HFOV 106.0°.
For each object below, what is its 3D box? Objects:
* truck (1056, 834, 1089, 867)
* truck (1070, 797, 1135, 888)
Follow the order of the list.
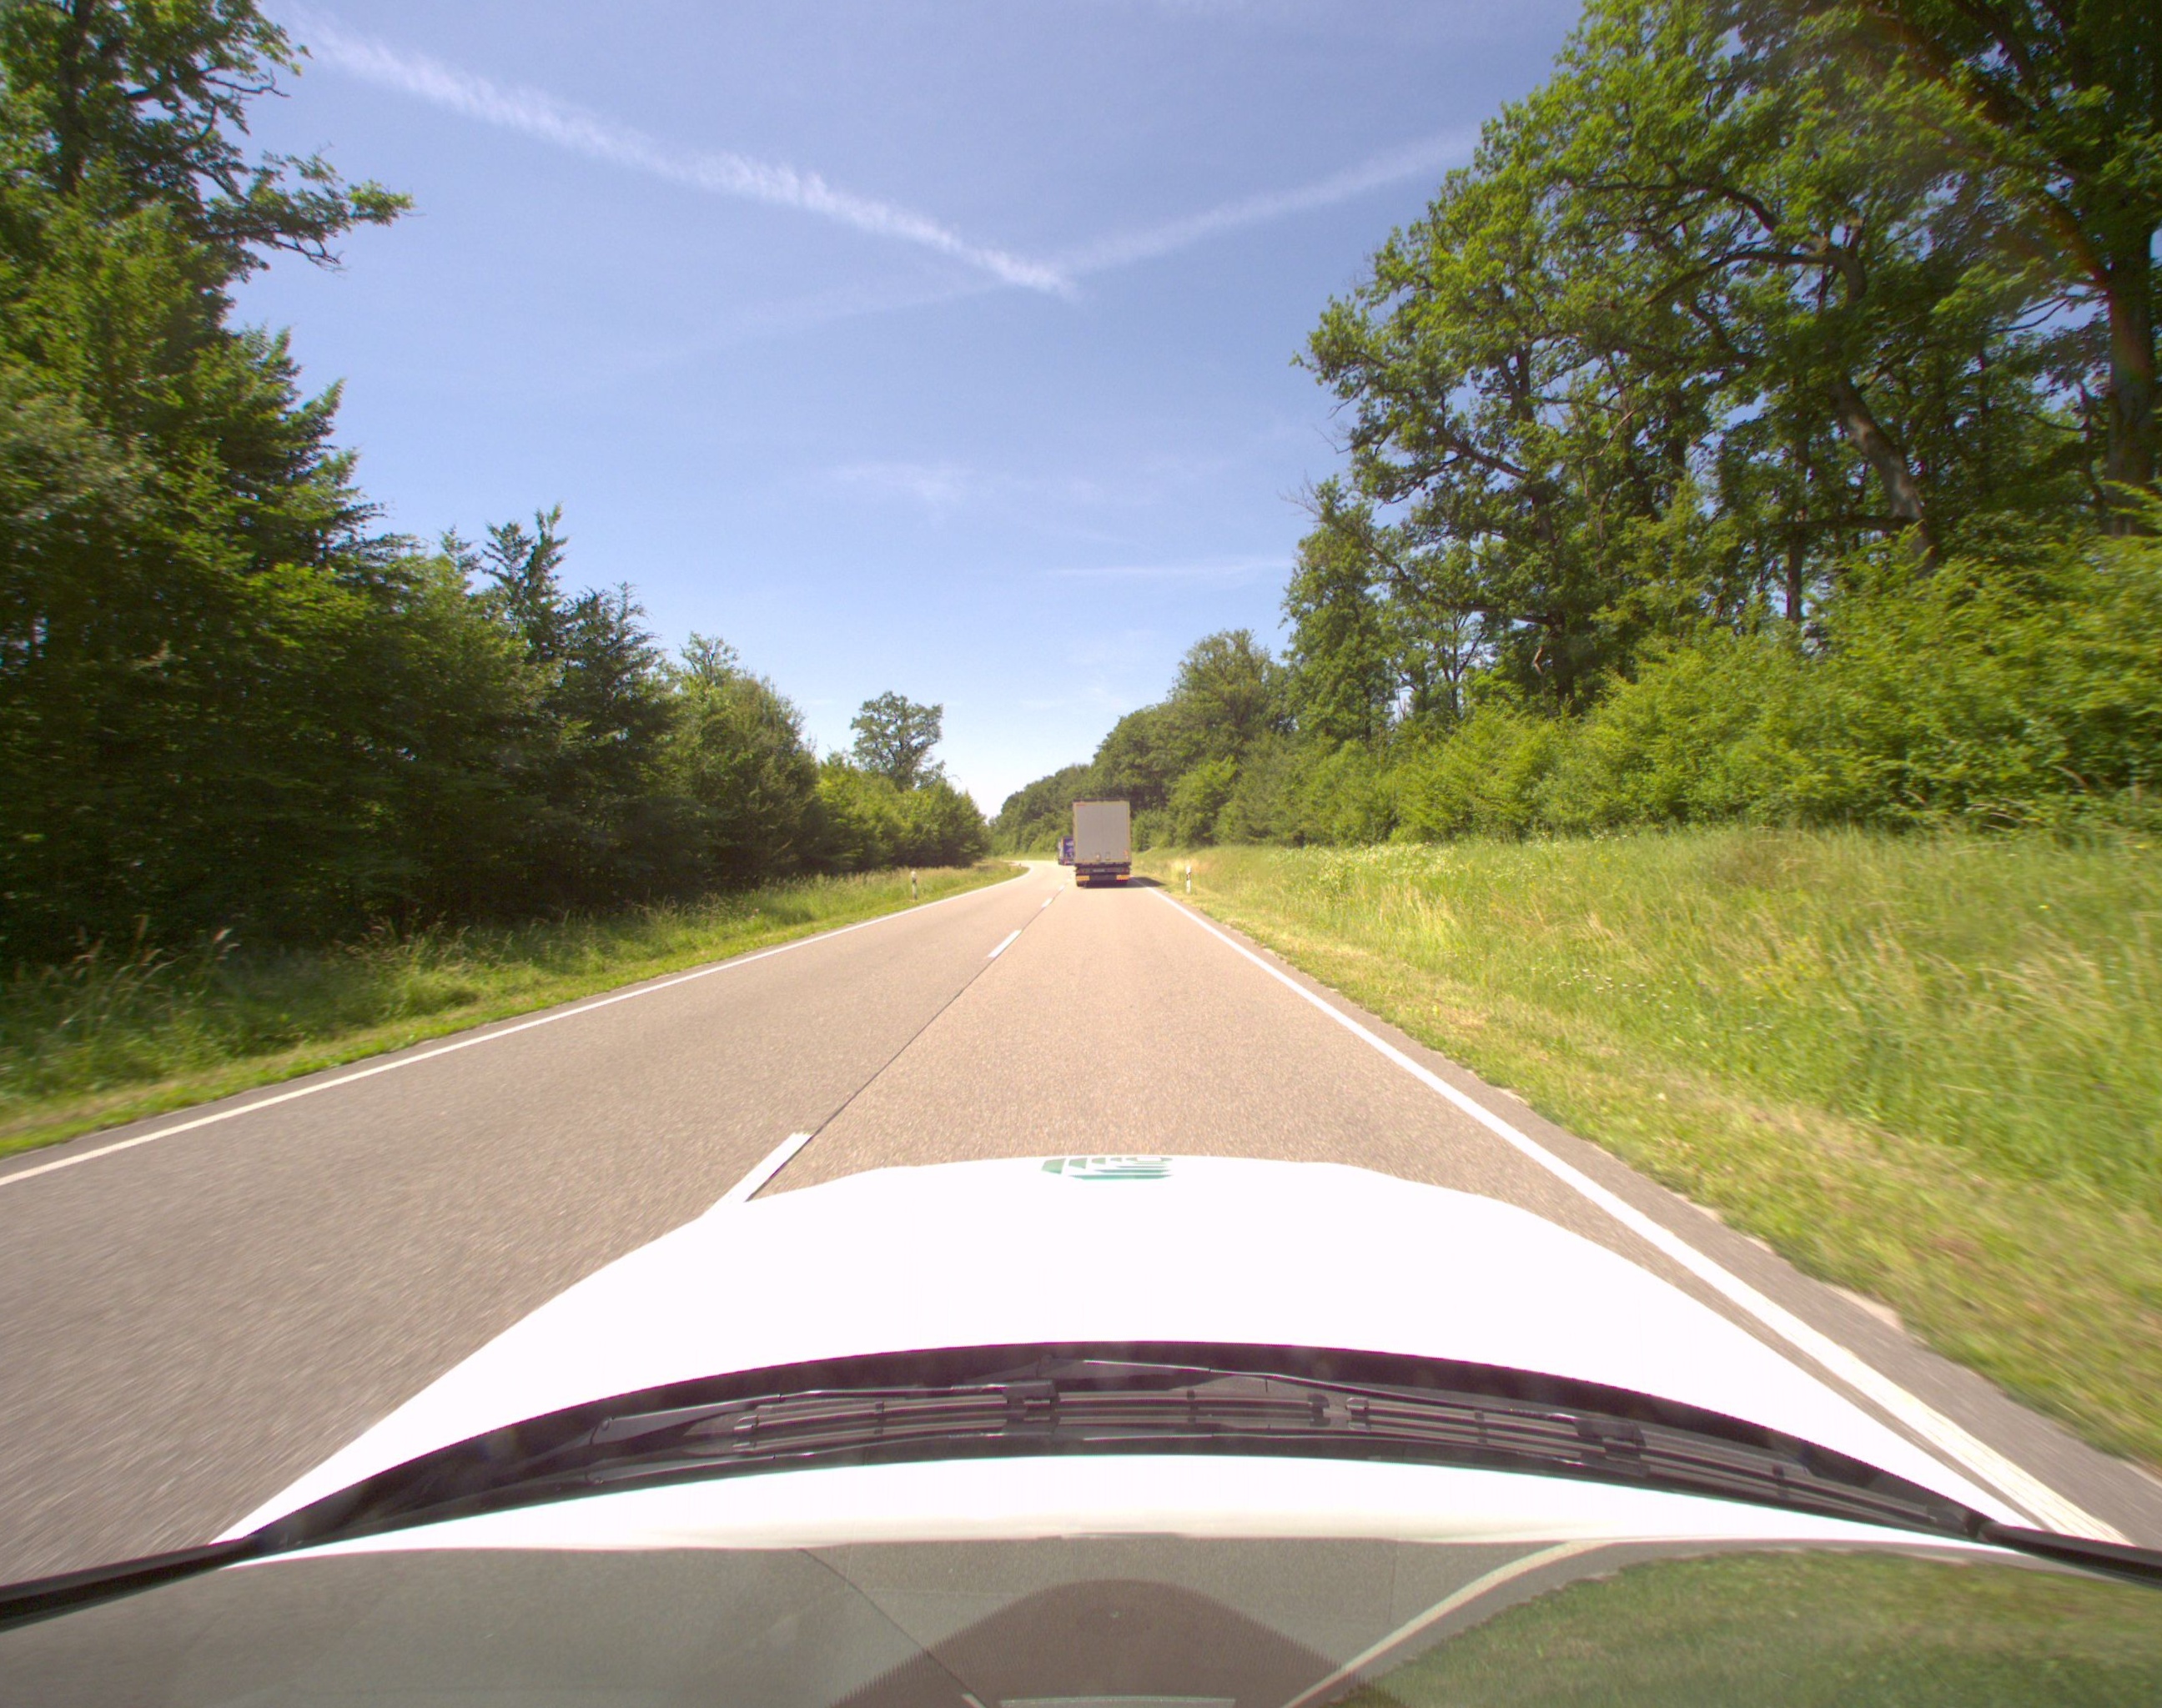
[{"bbox_3d":[-1.342,-0.446,116.748,3.786,4.373,14.898,-1,0,-4],"label":"truck"},{"bbox_3d":[1.024,-0.508,41.929,2.752,3.947,12.198,-2,0,1],"label":"truck"}]
